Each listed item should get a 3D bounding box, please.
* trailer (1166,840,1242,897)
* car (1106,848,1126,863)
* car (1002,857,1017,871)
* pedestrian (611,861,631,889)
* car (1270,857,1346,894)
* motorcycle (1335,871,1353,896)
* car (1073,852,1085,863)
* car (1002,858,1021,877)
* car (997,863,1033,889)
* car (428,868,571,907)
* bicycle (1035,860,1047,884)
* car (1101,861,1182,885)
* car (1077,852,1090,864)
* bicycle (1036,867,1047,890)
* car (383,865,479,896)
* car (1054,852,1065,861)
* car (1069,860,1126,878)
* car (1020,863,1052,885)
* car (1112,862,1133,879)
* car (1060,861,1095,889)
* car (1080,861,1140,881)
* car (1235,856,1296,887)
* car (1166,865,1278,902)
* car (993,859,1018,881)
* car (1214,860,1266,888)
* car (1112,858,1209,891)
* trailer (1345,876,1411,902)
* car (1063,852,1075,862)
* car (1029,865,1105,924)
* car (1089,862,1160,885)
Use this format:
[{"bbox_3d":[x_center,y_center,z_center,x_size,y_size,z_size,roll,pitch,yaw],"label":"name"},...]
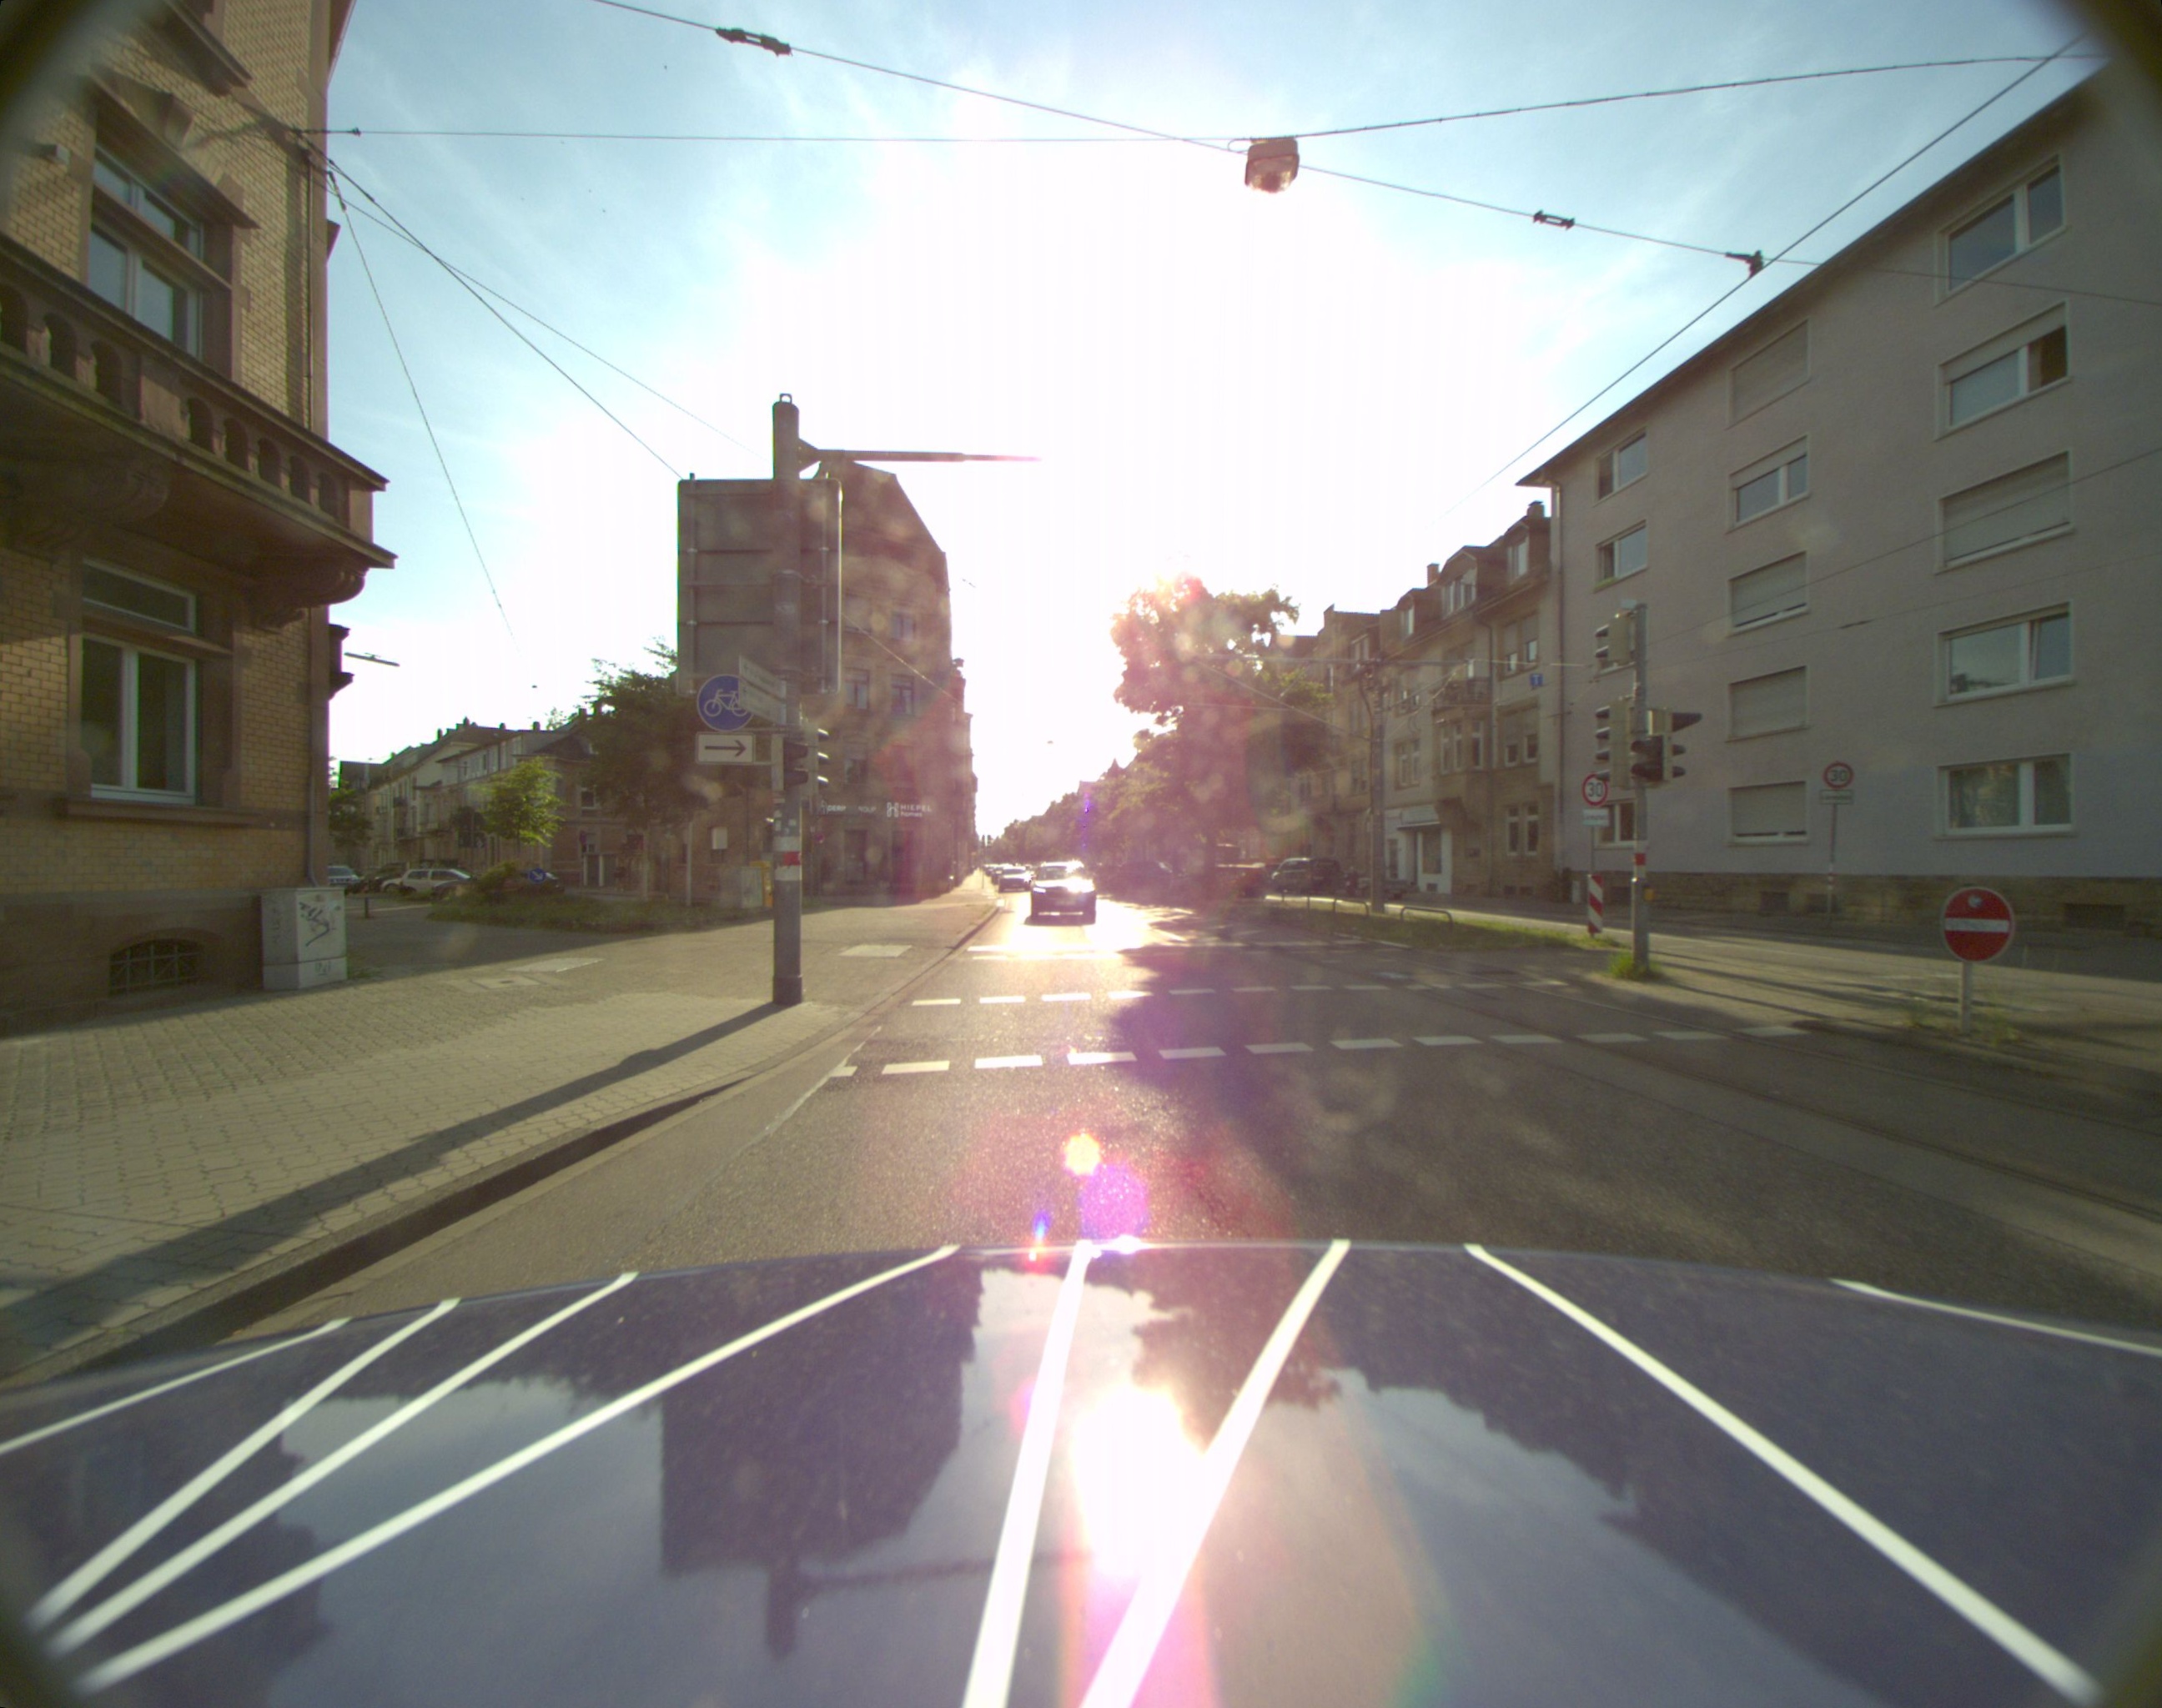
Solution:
[{"bbox_3d":[5.348,0.640,32.919,2.859,2.377,1.726,-2,-1,24],"label":"trailer"},{"bbox_3d":[4.829,0.207,105.660,2.000,2.001,3.998,-1,0,-7],"label":"car"},{"bbox_3d":[-10.413,1.496,110.798,2.000,2.002,3.997,0,0,-7],"label":"car"},{"bbox_3d":[-27.153,1.245,44.847,0.781,1.665,0.765,-2,0,41],"label":"pedestrian"},{"bbox_3d":[11.677,1.071,39.413,2.171,1.739,4.716,-1,-1,-5],"label":"car"},{"bbox_3d":[12.302,1.369,35.532,0.636,1.073,1.736,-1,0,14],"label":"motorcycle"},{"bbox_3d":[-0.406,0.737,146.769,1.999,2.001,3.999,-1,0,-4],"label":"car"},{"bbox_3d":[-7.603,1.473,82.863,2.000,2.002,3.997,0,0,-7],"label":"car"},{"bbox_3d":[-4.057,1.309,46.178,1.841,1.494,4.263,-1,-1,-9],"label":"car"},{"bbox_3d":[-24.989,1.414,32.835,4.456,1.505,1.997,-1,0,-16],"label":"car"},{"bbox_3d":[-2.170,0.984,41.453,0.575,1.290,0.688,-1,0,-6],"label":"bicycle"},{"bbox_3d":[3.719,1.168,46.862,4.598,1.373,1.705,-2,0,27],"label":"car"},{"bbox_3d":[0.425,0.768,135.595,1.999,2.001,3.999,-1,0,-4],"label":"car"},{"bbox_3d":[-2.155,1.336,41.435,0.484,1.183,1.338,-1,0,-7],"label":"bicycle"},{"bbox_3d":[-38.346,1.544,44.954,4.006,1.641,1.995,-1,0,-32],"label":"car"},{"bbox_3d":[-5.178,0.676,181.322,2.000,2.001,3.997,-1,0,-8],"label":"car"},{"bbox_3d":[1.379,1.257,64.652,4.260,1.413,2.176,-2,-1,34],"label":"car"},{"bbox_3d":[-3.401,1.486,57.130,2.000,1.564,3.997,-1,0,-9],"label":"car"},{"bbox_3d":[5.075,2.042,93.577,2.000,2.001,3.998,-1,0,-6],"label":"car"},{"bbox_3d":[-0.263,1.267,46.544,1.999,1.564,3.999,-1,0,-3],"label":"car"},{"bbox_3d":[2.164,1.265,57.021,4.260,1.413,1.685,-2,0,34],"label":"car"},{"bbox_3d":[11.098,1.029,46.026,2.171,1.739,4.609,-1,0,-5],"label":"car"},{"bbox_3d":[5.491,1.100,29.666,3.943,1.352,1.676,0,0,28],"label":"car"},{"bbox_3d":[-6.615,1.357,66.181,2.000,1.772,3.997,0,0,-8],"label":"car"},{"bbox_3d":[10.629,1.318,51.204,2.171,1.739,4.609,-1,0,-5],"label":"car"},{"bbox_3d":[4.224,1.060,40.763,4.704,1.680,2.177,-1,0,35],"label":"car"},{"bbox_3d":[12.927,1.513,33.239,1.445,0.891,2.878,-6,0,-7],"label":"trailer"},{"bbox_3d":[-2.476,0.711,159.763,2.000,2.001,3.997,-1,0,-8],"label":"car"},{"bbox_3d":[-0.493,1.048,21.248,1.841,1.472,3.998,-1,-1,-5],"label":"car"},{"bbox_3d":[2.908,1.315,50.607,4.294,1.413,1.963,-2,0,34],"label":"car"}]
